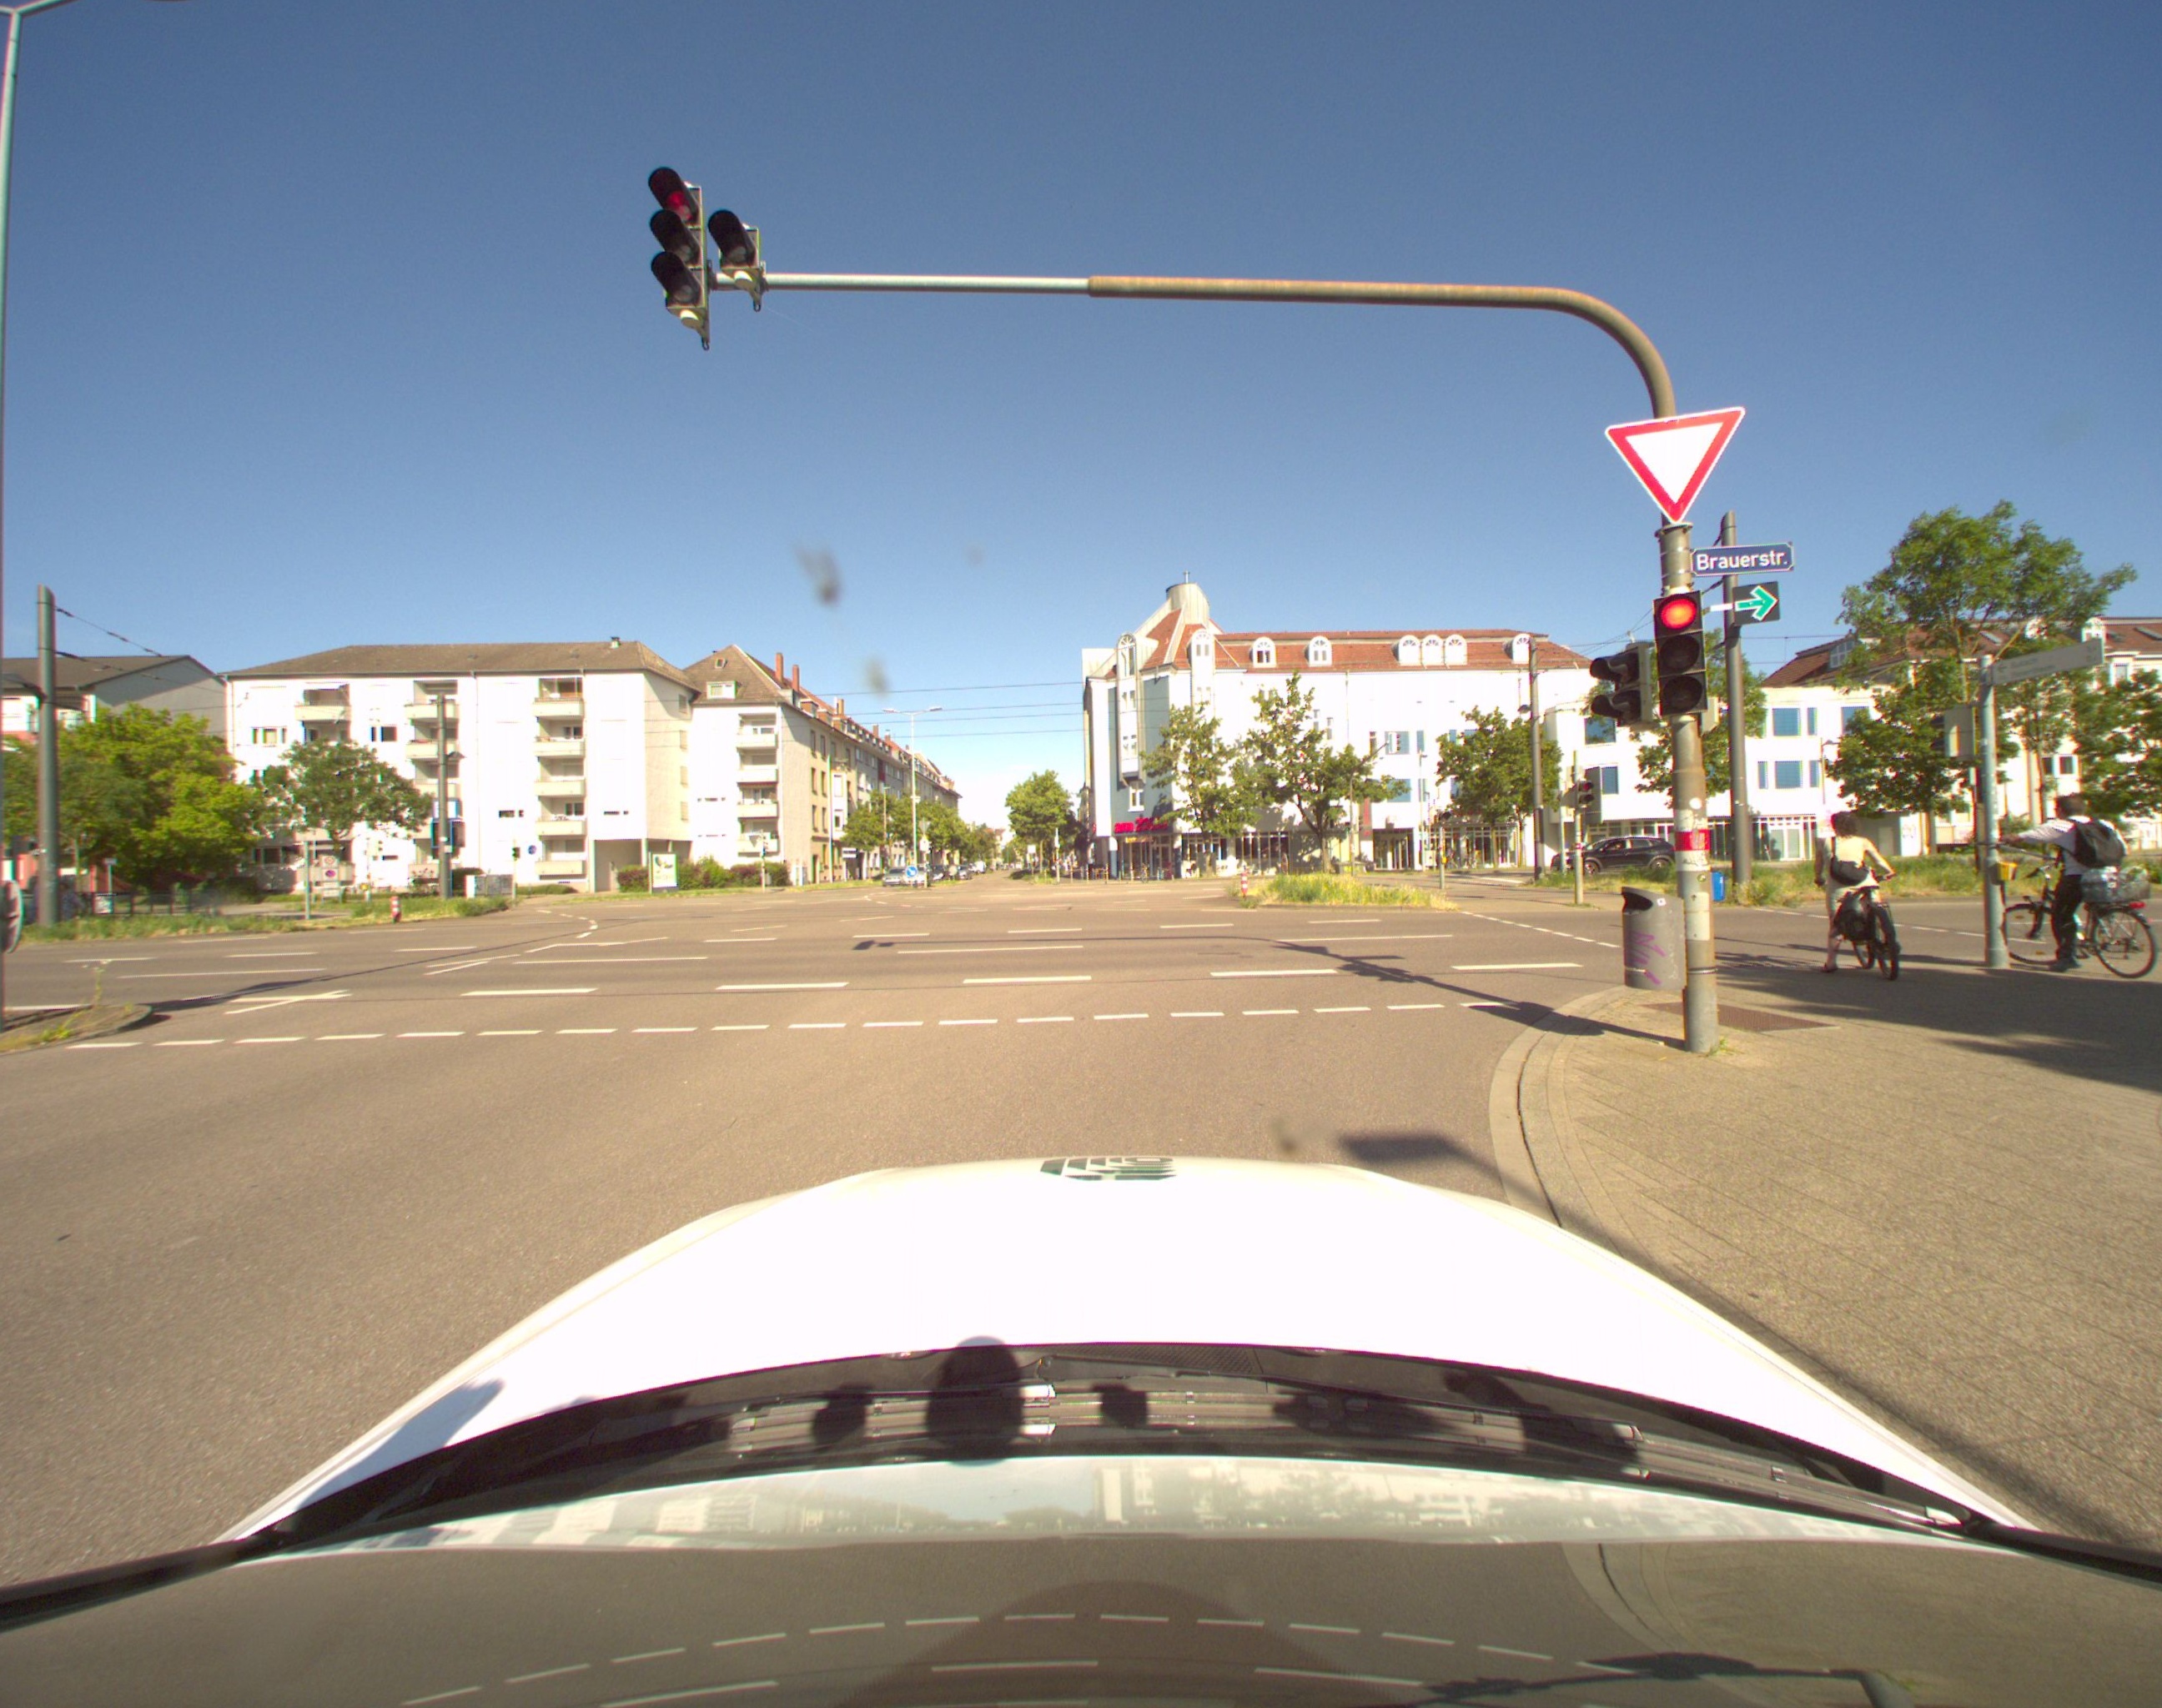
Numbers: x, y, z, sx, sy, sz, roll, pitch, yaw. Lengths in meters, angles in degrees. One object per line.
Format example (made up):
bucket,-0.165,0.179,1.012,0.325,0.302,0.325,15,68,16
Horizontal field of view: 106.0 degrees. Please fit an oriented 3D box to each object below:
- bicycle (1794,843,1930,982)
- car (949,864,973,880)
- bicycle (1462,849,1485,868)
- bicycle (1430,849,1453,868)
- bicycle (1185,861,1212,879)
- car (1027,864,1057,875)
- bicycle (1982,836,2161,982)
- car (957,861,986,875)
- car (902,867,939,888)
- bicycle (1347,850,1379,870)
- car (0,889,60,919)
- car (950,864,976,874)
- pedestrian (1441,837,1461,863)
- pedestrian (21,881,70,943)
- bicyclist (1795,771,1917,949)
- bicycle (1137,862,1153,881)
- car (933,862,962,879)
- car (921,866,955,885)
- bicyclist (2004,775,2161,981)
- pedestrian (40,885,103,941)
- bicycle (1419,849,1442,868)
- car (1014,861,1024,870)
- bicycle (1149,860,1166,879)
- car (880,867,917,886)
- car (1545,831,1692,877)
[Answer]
bicycle,8.520,0.572,8.977,0.782,1.348,2.092,-3,-1,37
car,-11.806,1.766,80.549,1.682,1.432,4.398,1,-1,0
bicycle,25.369,0.287,52.679,0.558,1.182,1.870,-2,-1,1
bicycle,23.496,0.319,53.054,0.559,1.182,1.868,-2,-1,-2
bicycle,6.806,0.922,47.012,1.502,1.027,0.474,-2,-1,9
car,-4.642,1.859,97.627,3.560,1.223,1.728,-1,-2,-4
bicycle,10.493,0.507,8.639,0.782,1.348,2.277,-3,-1,37
car,-17.237,2.211,128.333,4.496,2.014,1.997,-1,-2,-4
car,-11.620,1.671,59.156,1.682,1.432,4.400,1,-1,1
bicycle,17.810,0.388,51.446,1.861,1.182,0.561,-2,-1,-6
car,-55.391,2.564,41.296,1.672,1.432,4.427,0,-1,37
car,-16.919,2.199,117.250,3.560,1.416,1.925,-1,-2,-4
pedestrian,24.670,-0.270,54.259,0.987,1.723,0.653,-2,-1,-2
pedestrian,-30.272,1.680,23.827,1.139,1.726,0.818,-3,-1,41
bicyclist,8.543,0.064,9.034,0.782,1.824,1.143,-3,-1,37
bicycle,3.494,0.951,44.680,0.472,1.027,1.510,-2,-1,-12
car,-11.700,1.473,71.630,1.682,1.432,4.401,1,-1,2
car,-11.506,1.717,65.692,1.681,1.432,4.403,1,-1,3
bicyclist,10.290,0.238,8.384,0.782,1.959,1.017,-3,-1,37
pedestrian,-29.138,1.700,23.510,0.723,1.533,0.856,-2,-1,-6
bicycle,22.602,0.310,52.724,0.559,1.182,1.868,-2,-1,-2
car,-14.071,2.634,186.083,1.988,1.756,4.517,-1,-2,-1
bicycle,4.257,0.866,45.218,0.472,1.027,1.509,-2,-1,-13
car,-13.871,1.688,62.156,1.682,1.432,4.401,1,-1,2
car,21.402,0.013,32.595,4.475,1.609,2.005,-2,-1,8
